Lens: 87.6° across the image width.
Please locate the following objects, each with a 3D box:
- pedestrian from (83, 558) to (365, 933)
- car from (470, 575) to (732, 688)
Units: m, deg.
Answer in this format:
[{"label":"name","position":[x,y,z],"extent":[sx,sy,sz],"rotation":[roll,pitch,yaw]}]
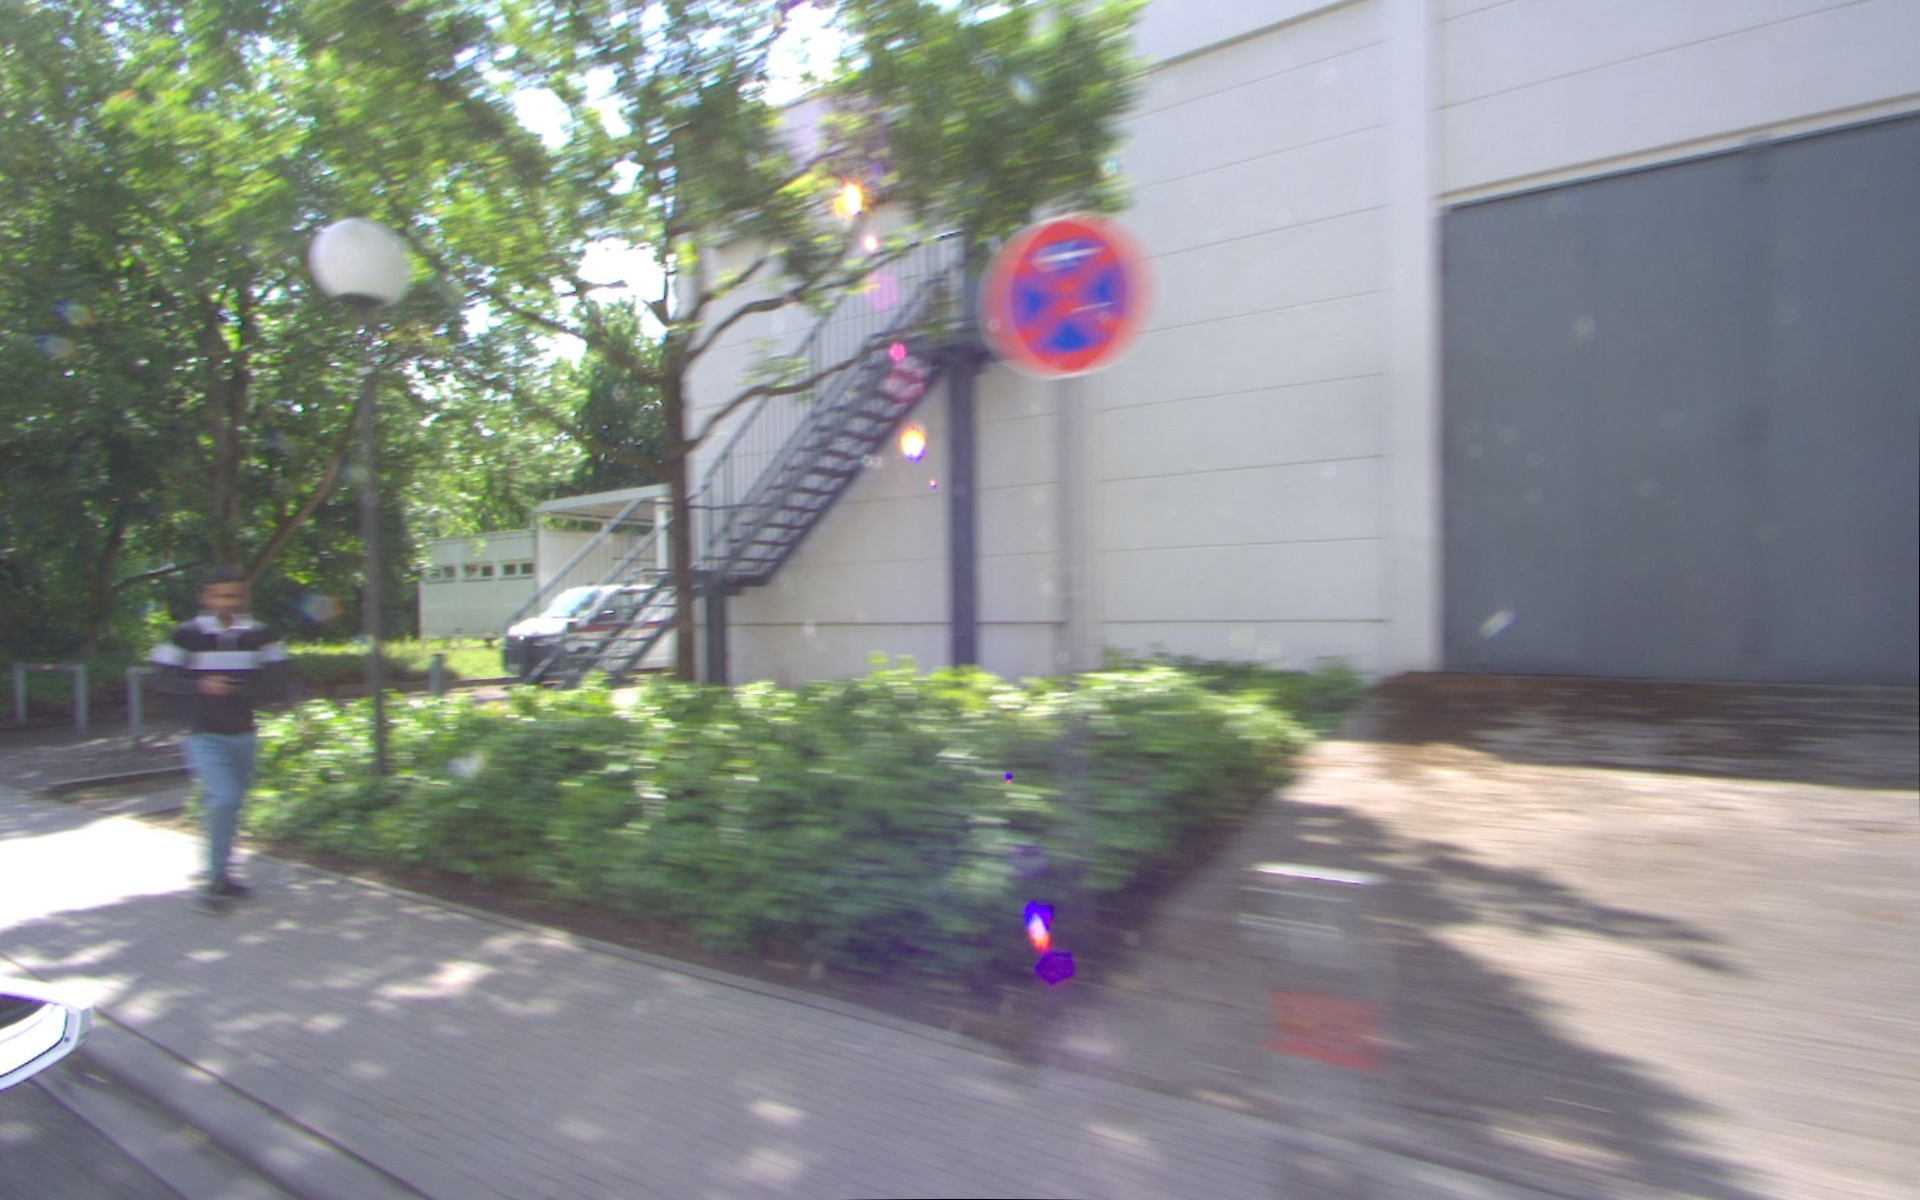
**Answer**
[{"label":"pedestrian","position":[-3.797,0.672,5.168],"extent":[1.238,1.696,0.738],"rotation":[-1,0,30]},{"label":"car","position":[-7.177,0.590,20.556],"extent":[2.033,2.040,4.813],"rotation":[-1,0,34]}]
